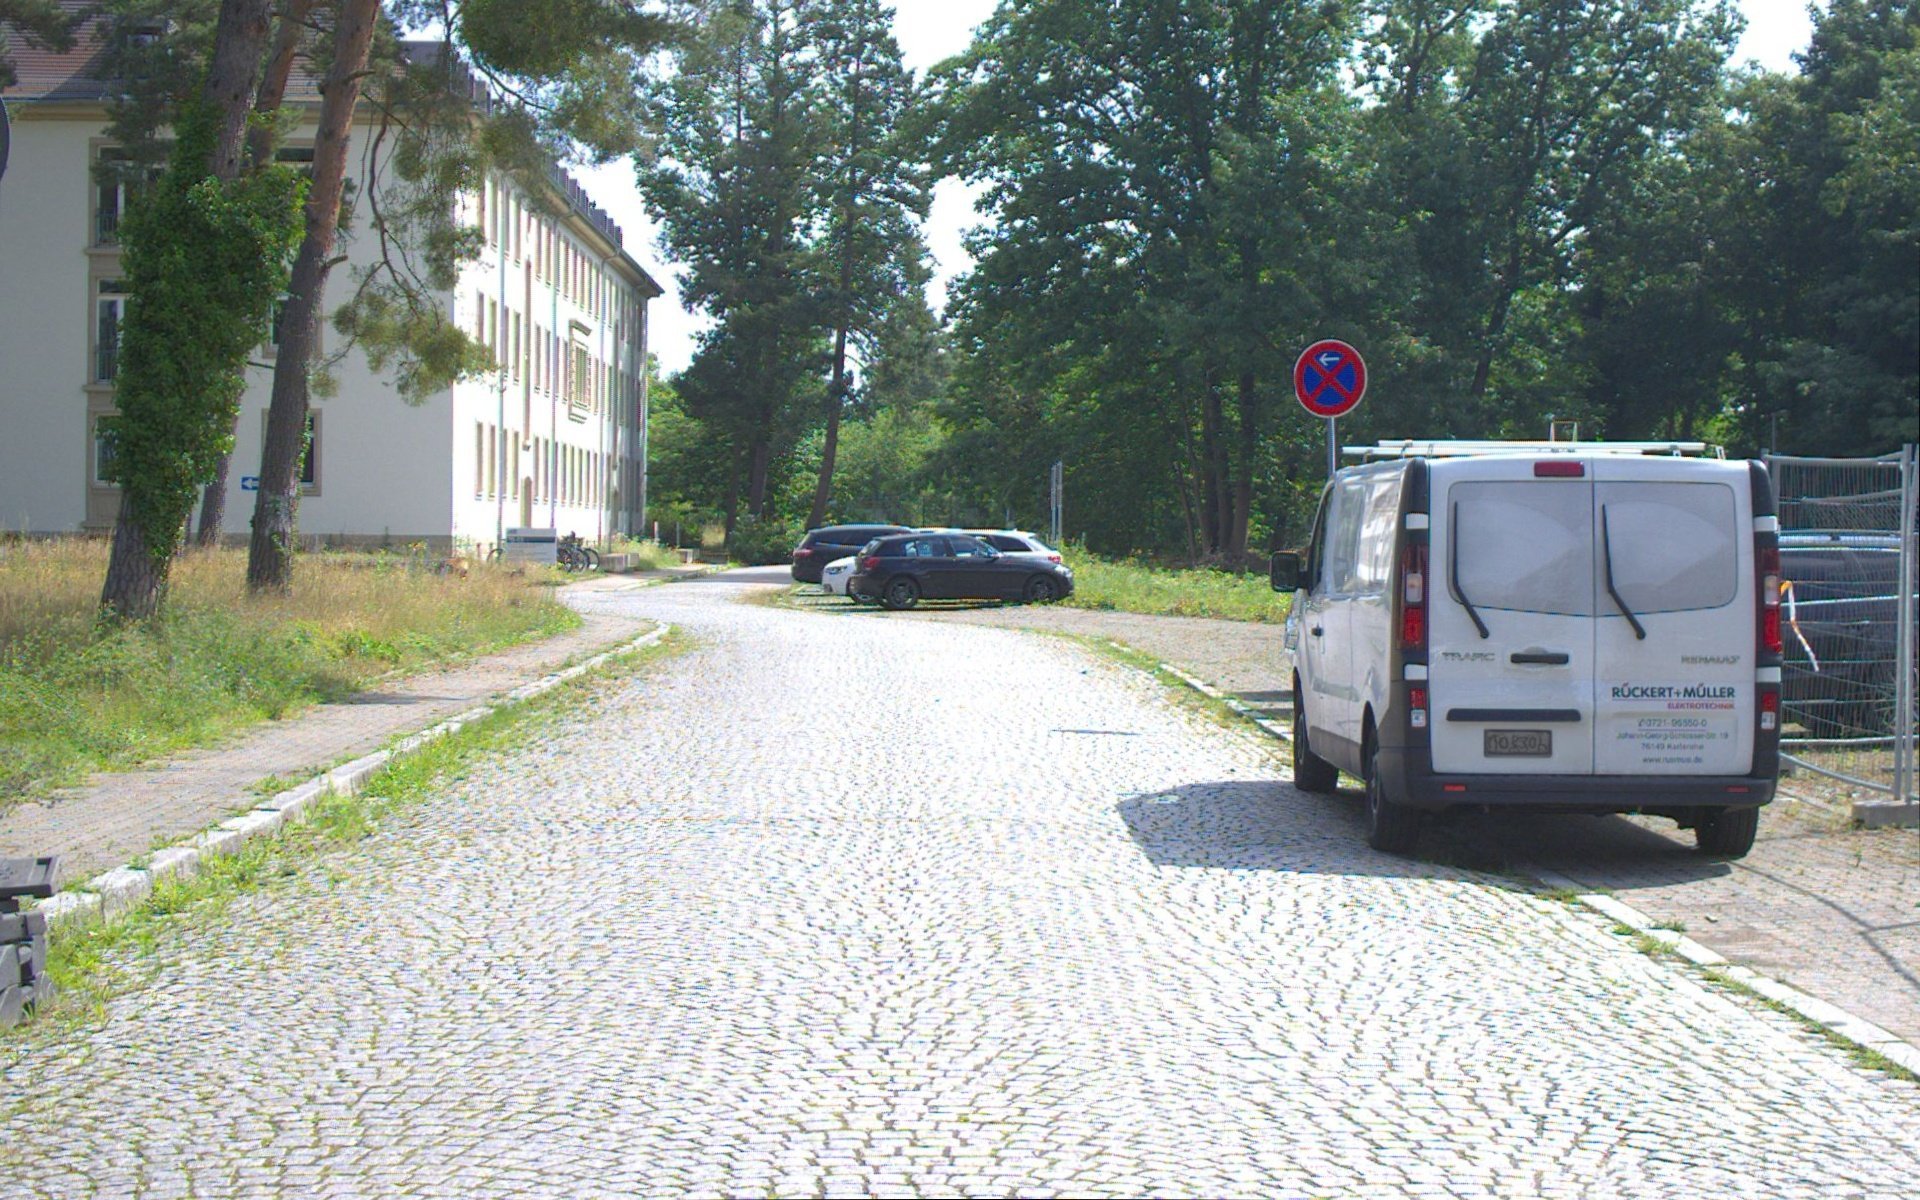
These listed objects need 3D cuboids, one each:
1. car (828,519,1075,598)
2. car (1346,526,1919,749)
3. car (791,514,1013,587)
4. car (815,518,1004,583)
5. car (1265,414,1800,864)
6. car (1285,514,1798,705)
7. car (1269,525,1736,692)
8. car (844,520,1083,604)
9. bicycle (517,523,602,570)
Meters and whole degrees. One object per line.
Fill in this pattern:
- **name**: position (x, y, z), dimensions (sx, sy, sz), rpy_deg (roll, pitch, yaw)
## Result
- **car**: position (-0.197, -0.841, 68.938), dimensions (4.861, 1.467, 1.875), rpy_deg (-1, 2, -2)
- **car**: position (5.143, 0.234, 24.590), dimensions (4.453, 1.470, 1.746), rpy_deg (-1, 1, -5)
- **car**: position (-1.310, -1.102, 76.267), dimensions (4.852, 1.547, 1.880), rpy_deg (-1, 1, -2)
- **car**: position (-1.220, -1.167, 81.584), dimensions (4.398, 1.479, 1.766), rpy_deg (-1, 1, -2)
- **car**: position (2.870, 0.124, 18.557), dimensions (1.914, 2.046, 5.679), rpy_deg (0, 1, 0)
- **car**: position (4.878, 0.058, 29.161), dimensions (3.986, 1.501, 1.747), rpy_deg (-1, 1, -3)
- **car**: position (5.036, 0.057, 32.228), dimensions (4.041, 1.459, 1.704), rpy_deg (-1, 1, -3)
- **car**: position (0.051, -0.740, 65.766), dimensions (4.323, 1.495, 1.830), rpy_deg (-1, 2, -9)
- **bicycle**: position (-10.857, -1.449, 93.196), dimensions (2.222, 1.256, 0.623), rpy_deg (0, 1, 1)
